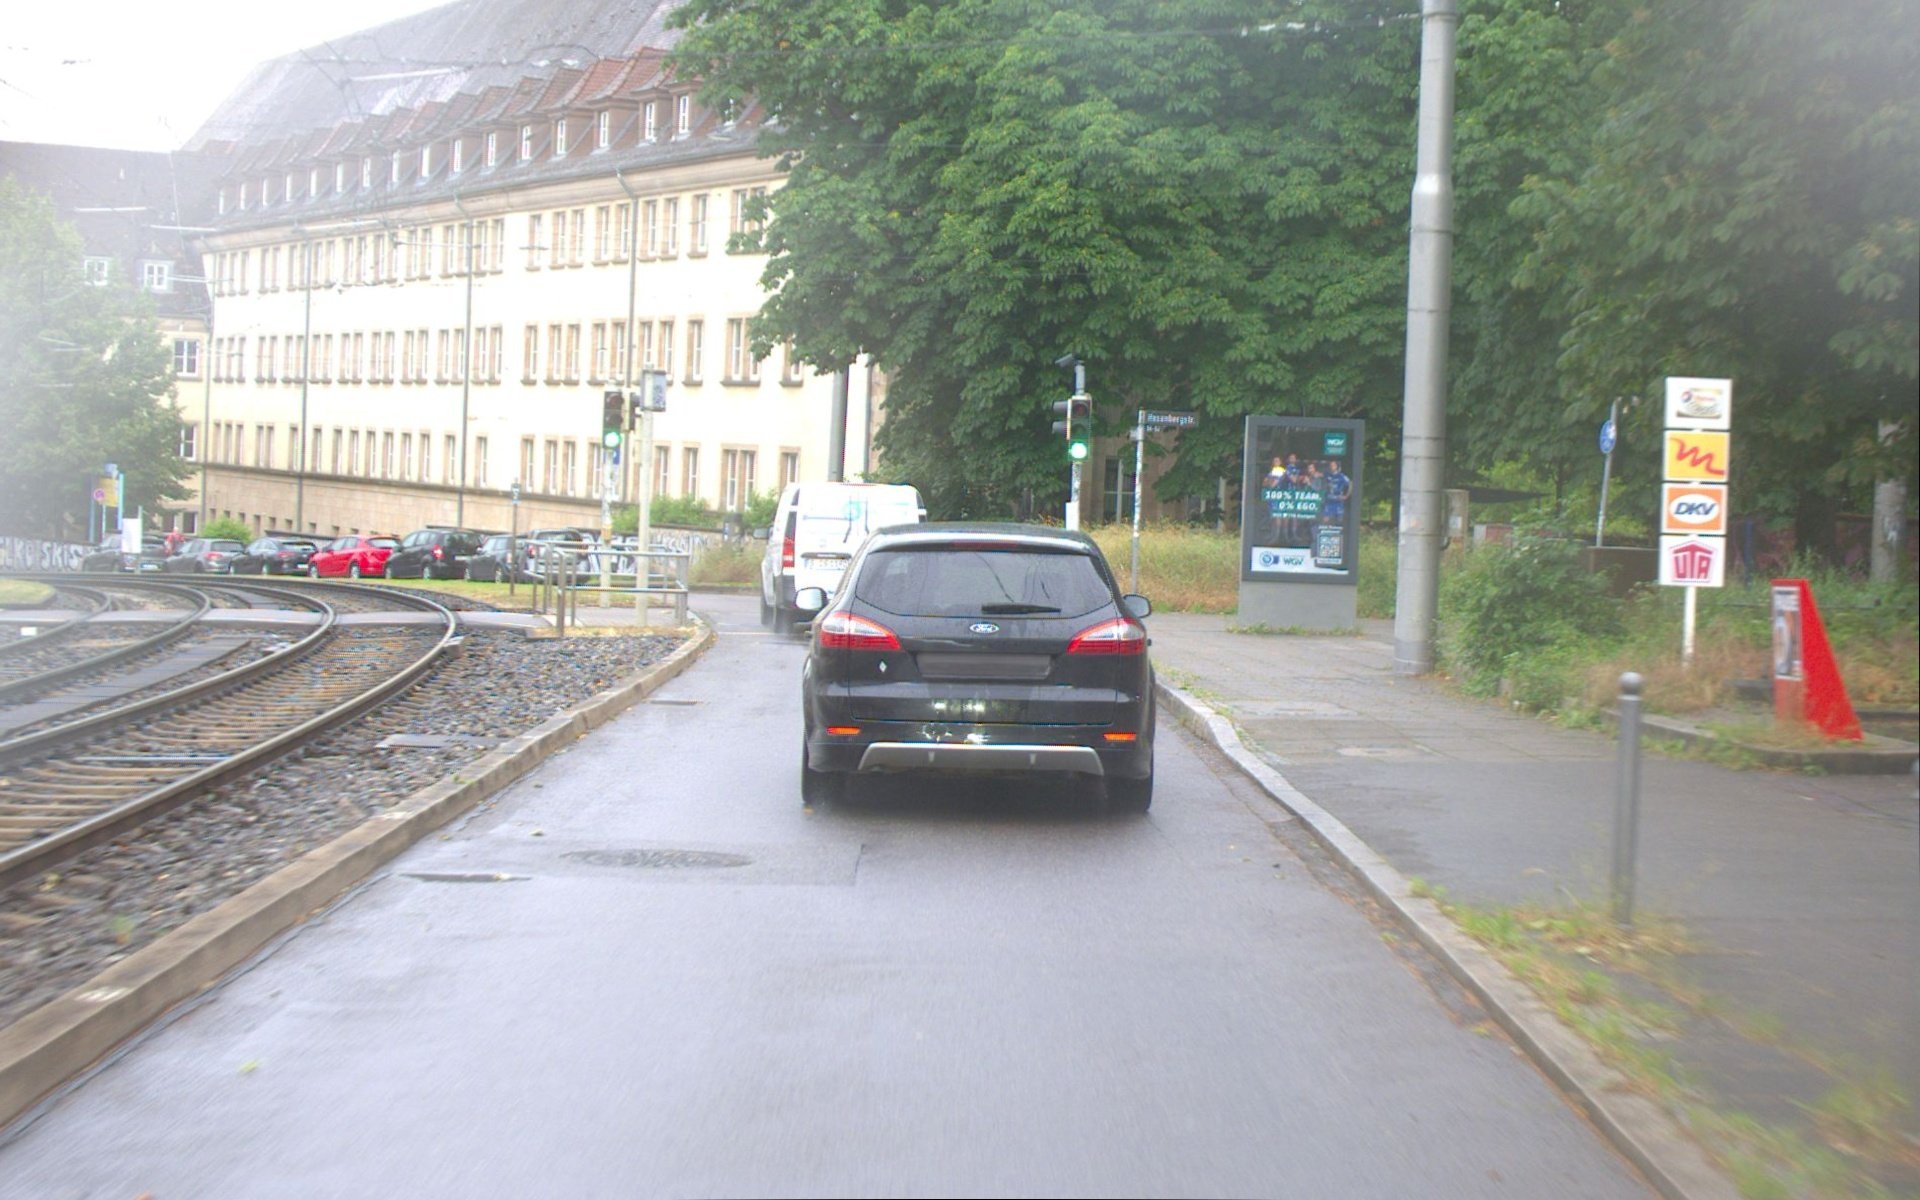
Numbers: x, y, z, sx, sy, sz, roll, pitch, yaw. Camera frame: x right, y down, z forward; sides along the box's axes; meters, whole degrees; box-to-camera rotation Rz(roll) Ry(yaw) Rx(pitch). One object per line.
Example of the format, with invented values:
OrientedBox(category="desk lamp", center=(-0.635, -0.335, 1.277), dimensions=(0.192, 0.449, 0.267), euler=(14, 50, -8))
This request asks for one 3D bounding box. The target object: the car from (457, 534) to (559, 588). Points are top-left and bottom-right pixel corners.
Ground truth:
OrientedBox(category="car", center=(-12.163, -1.057, 92.370), dimensions=(1.536, 1.411, 3.644), euler=(-1, 1, -28))

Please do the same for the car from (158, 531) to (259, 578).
OrientedBox(category="car", center=(-24.329, -1.480, 111.247), dimensions=(1.666, 1.471, 4.108), euler=(-1, 1, -36))

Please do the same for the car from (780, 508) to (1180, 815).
OrientedBox(category="car", center=(-0.006, 0.257, 18.671), dimensions=(1.920, 1.474, 4.001), euler=(1, 1, -3))

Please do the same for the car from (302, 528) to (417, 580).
OrientedBox(category="car", center=(-17.847, -1.357, 102.064), dimensions=(1.666, 1.471, 4.065), euler=(2, 0, -37))

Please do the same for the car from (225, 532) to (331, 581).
OrientedBox(category="car", center=(-21.126, -1.365, 106.377), dimensions=(1.665, 1.471, 4.457), euler=(-1, 1, -33))

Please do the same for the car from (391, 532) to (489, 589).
OrientedBox(category="car", center=(-14.751, -1.120, 97.422), dimensions=(1.665, 1.567, 3.856), euler=(-1, 1, -26))

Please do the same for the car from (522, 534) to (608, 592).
OrientedBox(category="car", center=(-10.195, -0.967, 88.659), dimensions=(1.597, 1.460, 2.721), euler=(-1, 1, -20))

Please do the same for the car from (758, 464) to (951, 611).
OrientedBox(category="car", center=(-1.382, -0.791, 43.087), dimensions=(2.136, 1.739, 4.219), euler=(0, 1, -5))

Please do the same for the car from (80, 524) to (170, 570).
OrientedBox(category="car", center=(-28.170, -1.782, 115.954), dimensions=(1.665, 1.519, 4.109), euler=(-1, 1, -33))
